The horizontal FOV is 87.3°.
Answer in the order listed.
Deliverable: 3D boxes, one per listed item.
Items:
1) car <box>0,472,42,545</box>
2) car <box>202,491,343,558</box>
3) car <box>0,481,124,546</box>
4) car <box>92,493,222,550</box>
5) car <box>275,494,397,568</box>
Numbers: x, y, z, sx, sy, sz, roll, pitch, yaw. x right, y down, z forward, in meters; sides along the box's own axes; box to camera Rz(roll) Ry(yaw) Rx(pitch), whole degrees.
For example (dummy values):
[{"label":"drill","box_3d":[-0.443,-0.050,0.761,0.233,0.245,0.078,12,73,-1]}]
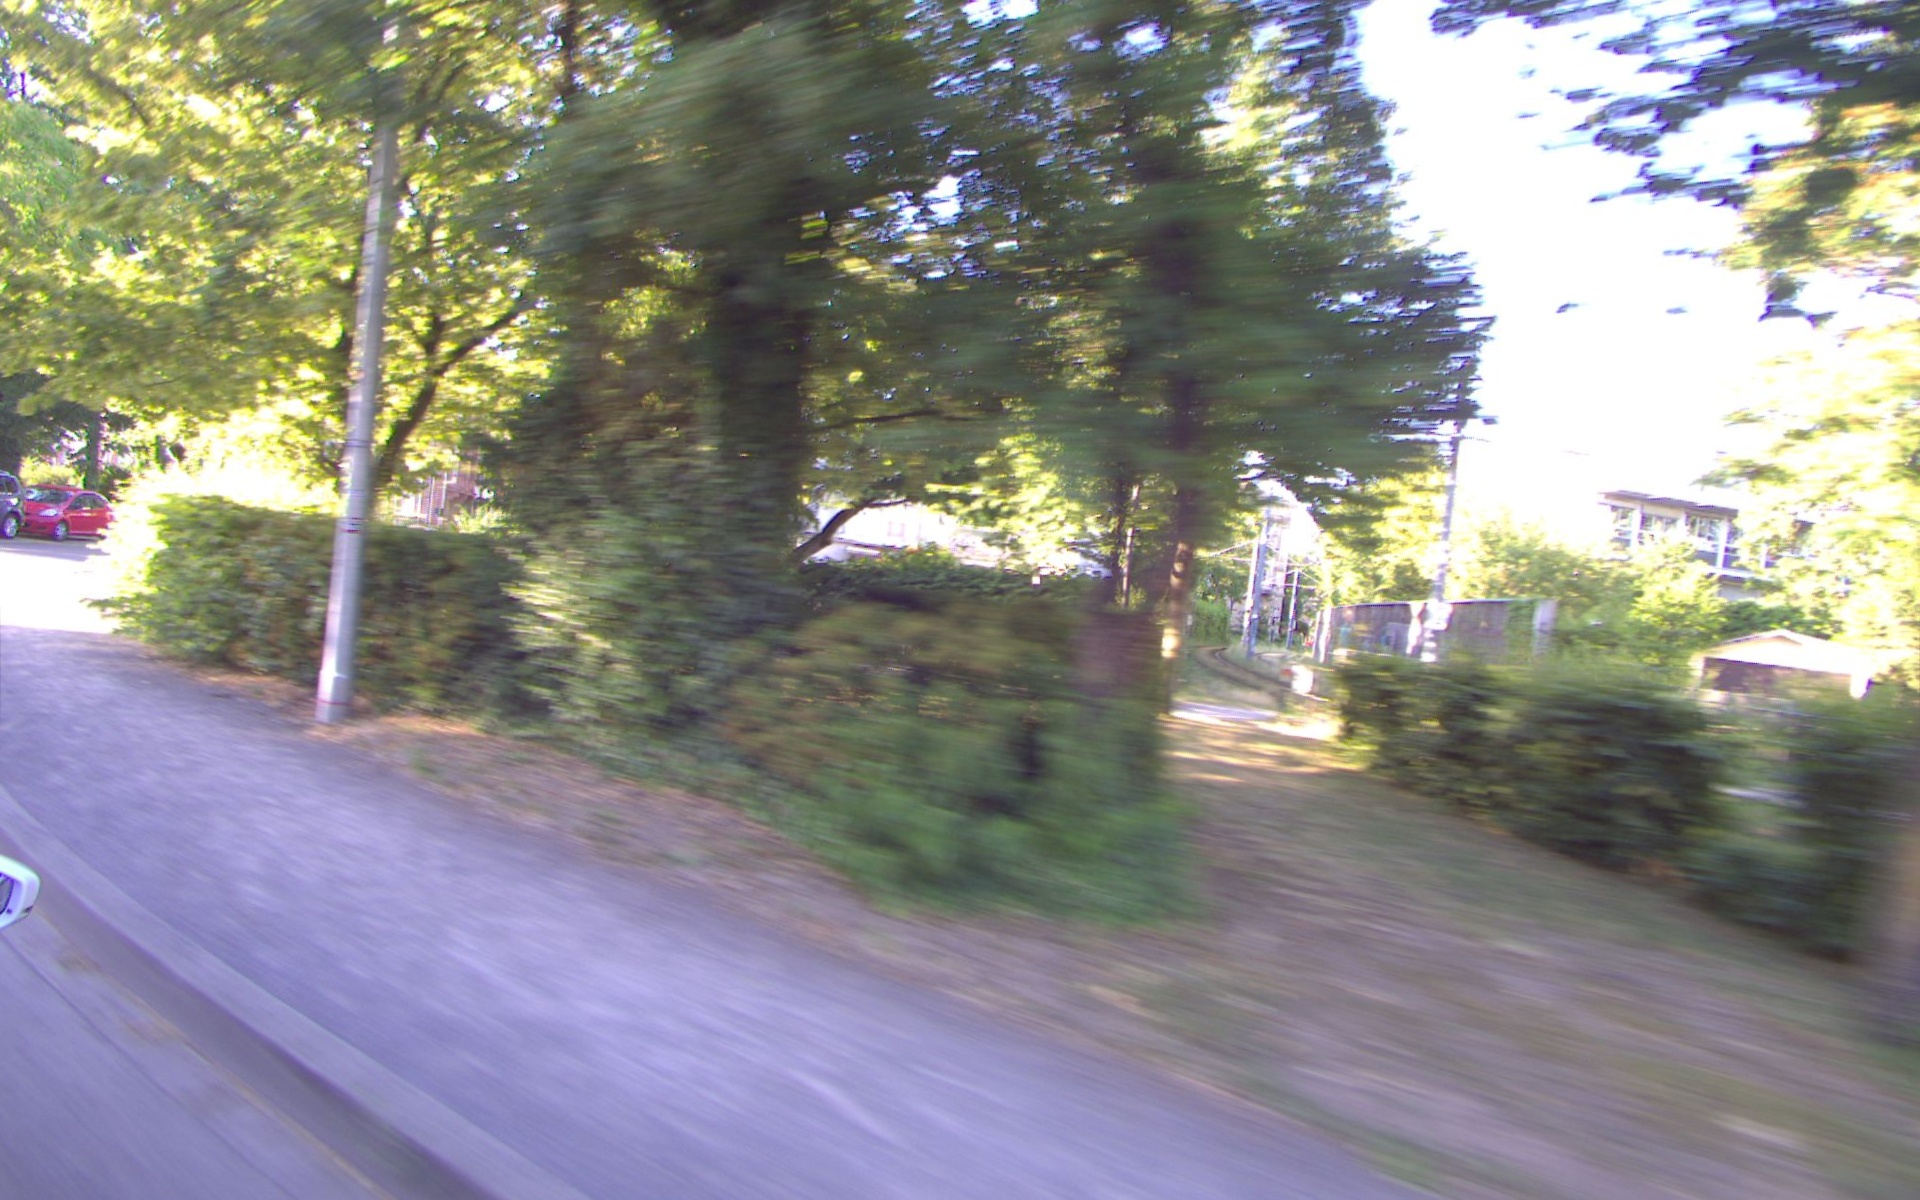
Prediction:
[{"label":"car","box_3d":[-23.899,-2.324,23.351,1.779,1.696,4.308,8,0,-13]},{"label":"car","box_3d":[-19.435,-2.070,28.692,1.744,1.486,4.848,7,0,-16]},{"label":"car","box_3d":[-25.097,-2.354,27.943,1.370,1.440,3.416,8,0,-13]},{"label":"car","box_3d":[-26.265,-2.529,33.076,1.669,1.423,3.963,8,0,-13]},{"label":"car","box_3d":[-20.562,-2.196,33.415,1.929,2.039,5.135,7,0,-16]}]
